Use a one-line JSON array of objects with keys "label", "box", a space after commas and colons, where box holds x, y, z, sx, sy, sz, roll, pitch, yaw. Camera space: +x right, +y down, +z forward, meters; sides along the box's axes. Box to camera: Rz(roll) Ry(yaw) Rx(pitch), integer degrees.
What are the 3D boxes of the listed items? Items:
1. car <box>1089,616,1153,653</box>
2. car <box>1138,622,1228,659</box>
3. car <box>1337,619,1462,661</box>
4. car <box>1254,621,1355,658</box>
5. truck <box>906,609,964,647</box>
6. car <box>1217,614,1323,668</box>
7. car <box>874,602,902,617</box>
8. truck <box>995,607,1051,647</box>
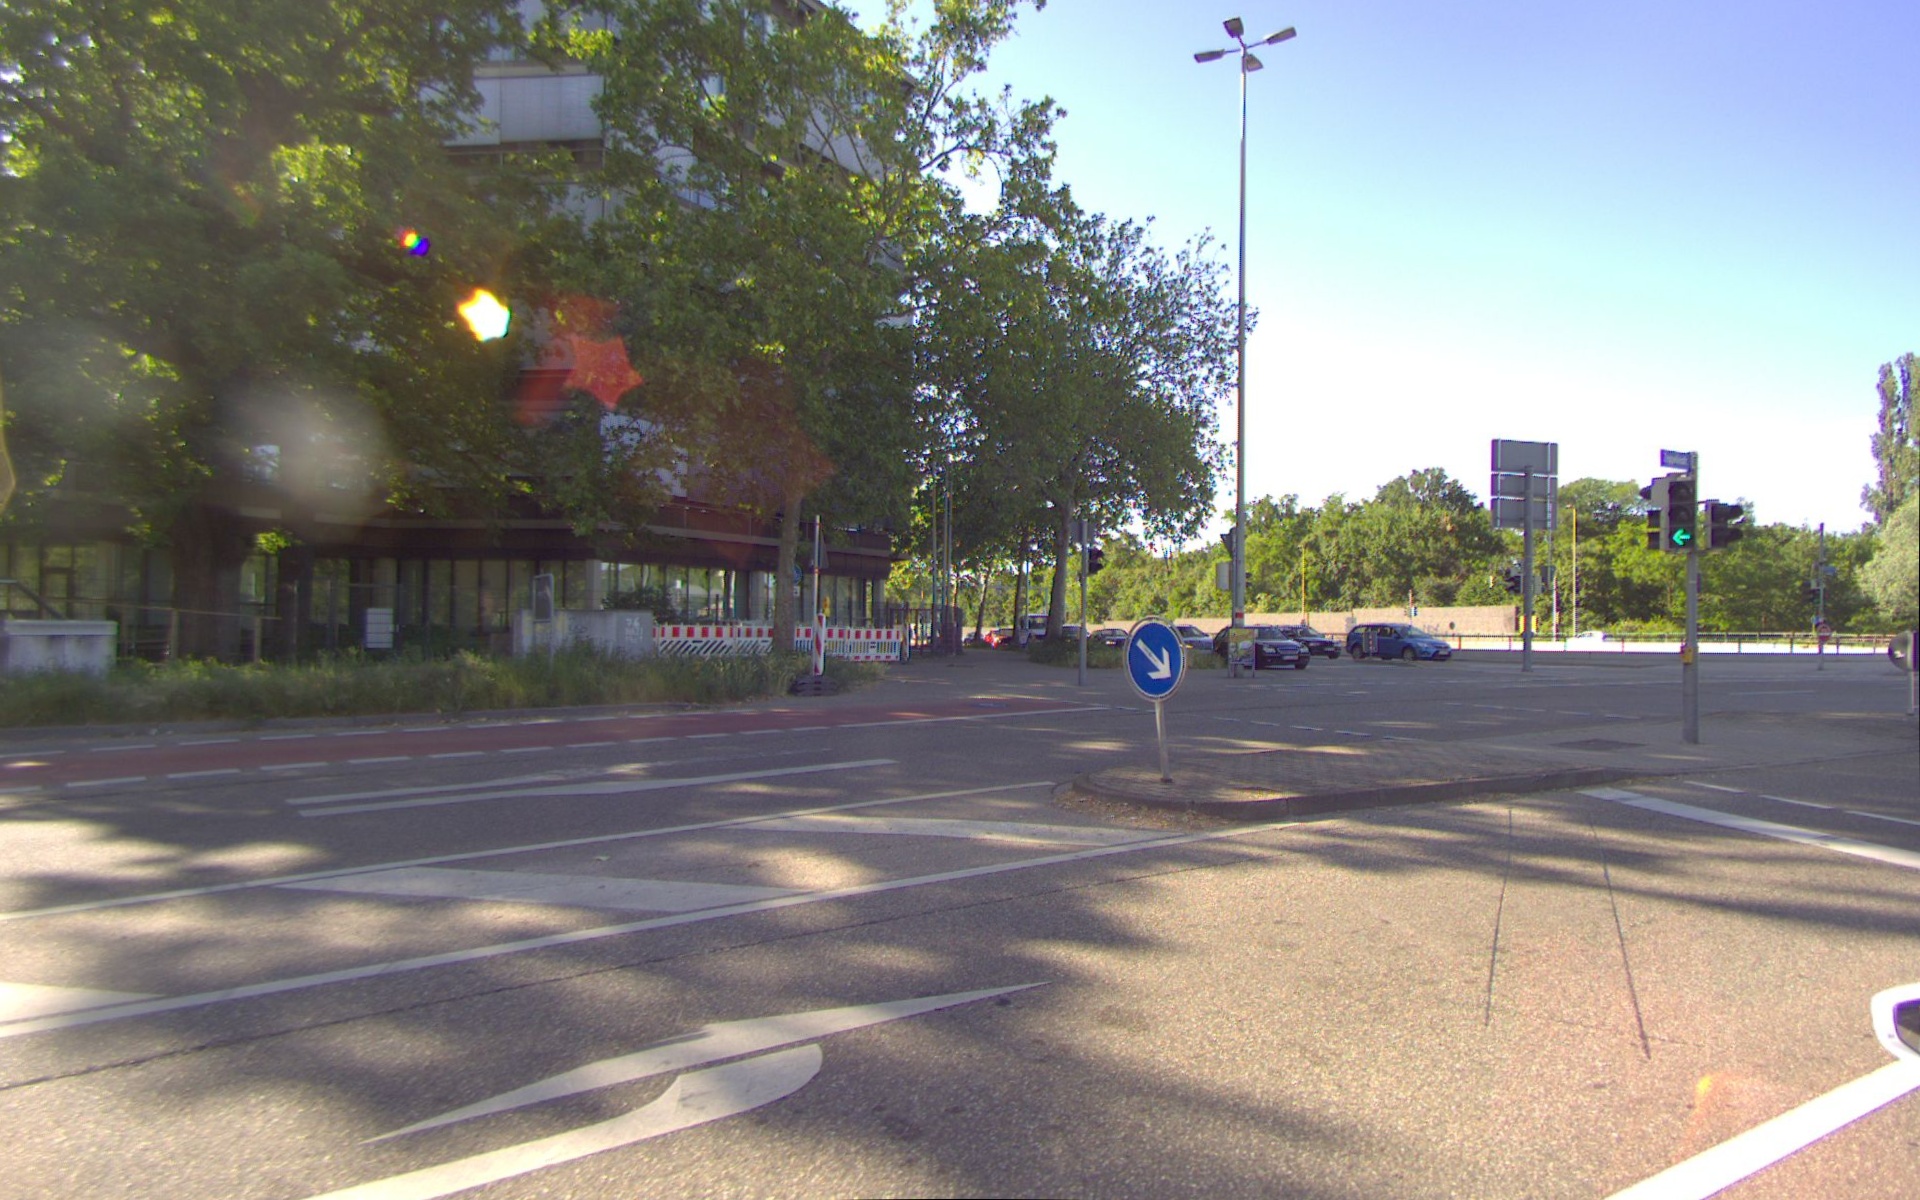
[{"label": "car", "box": [7.714, 1.629, 48.458, 1.782, 1.722, 4.189, 1, -1, -10]}, {"label": "car", "box": [8.876, 1.586, 40.372, 1.847, 1.376, 4.499, 1, -1, -12]}, {"label": "car", "box": [17.343, 1.530, 39.849, 1.924, 1.561, 4.433, 1, -1, -23]}, {"label": "car", "box": [15.442, 1.733, 45.259, 1.922, 1.561, 4.437, 1, -1, -20]}, {"label": "truck", "box": [-2.797, 2.933, 108.819, 3.792, 3.847, 9.306, 1, 0, -18]}, {"label": "car", "box": [10.181, 1.310, 33.373, 1.913, 1.643, 4.784, 0, -1, -2]}, {"label": "car", "box": [-8.585, 1.169, 120.046, 1.793, 1.722, 4.165, 1, -1, -29]}, {"label": "truck", "box": [3.908, 1.691, 64.239, 2.124, 2.391, 7.505, 1, -1, -8]}]
